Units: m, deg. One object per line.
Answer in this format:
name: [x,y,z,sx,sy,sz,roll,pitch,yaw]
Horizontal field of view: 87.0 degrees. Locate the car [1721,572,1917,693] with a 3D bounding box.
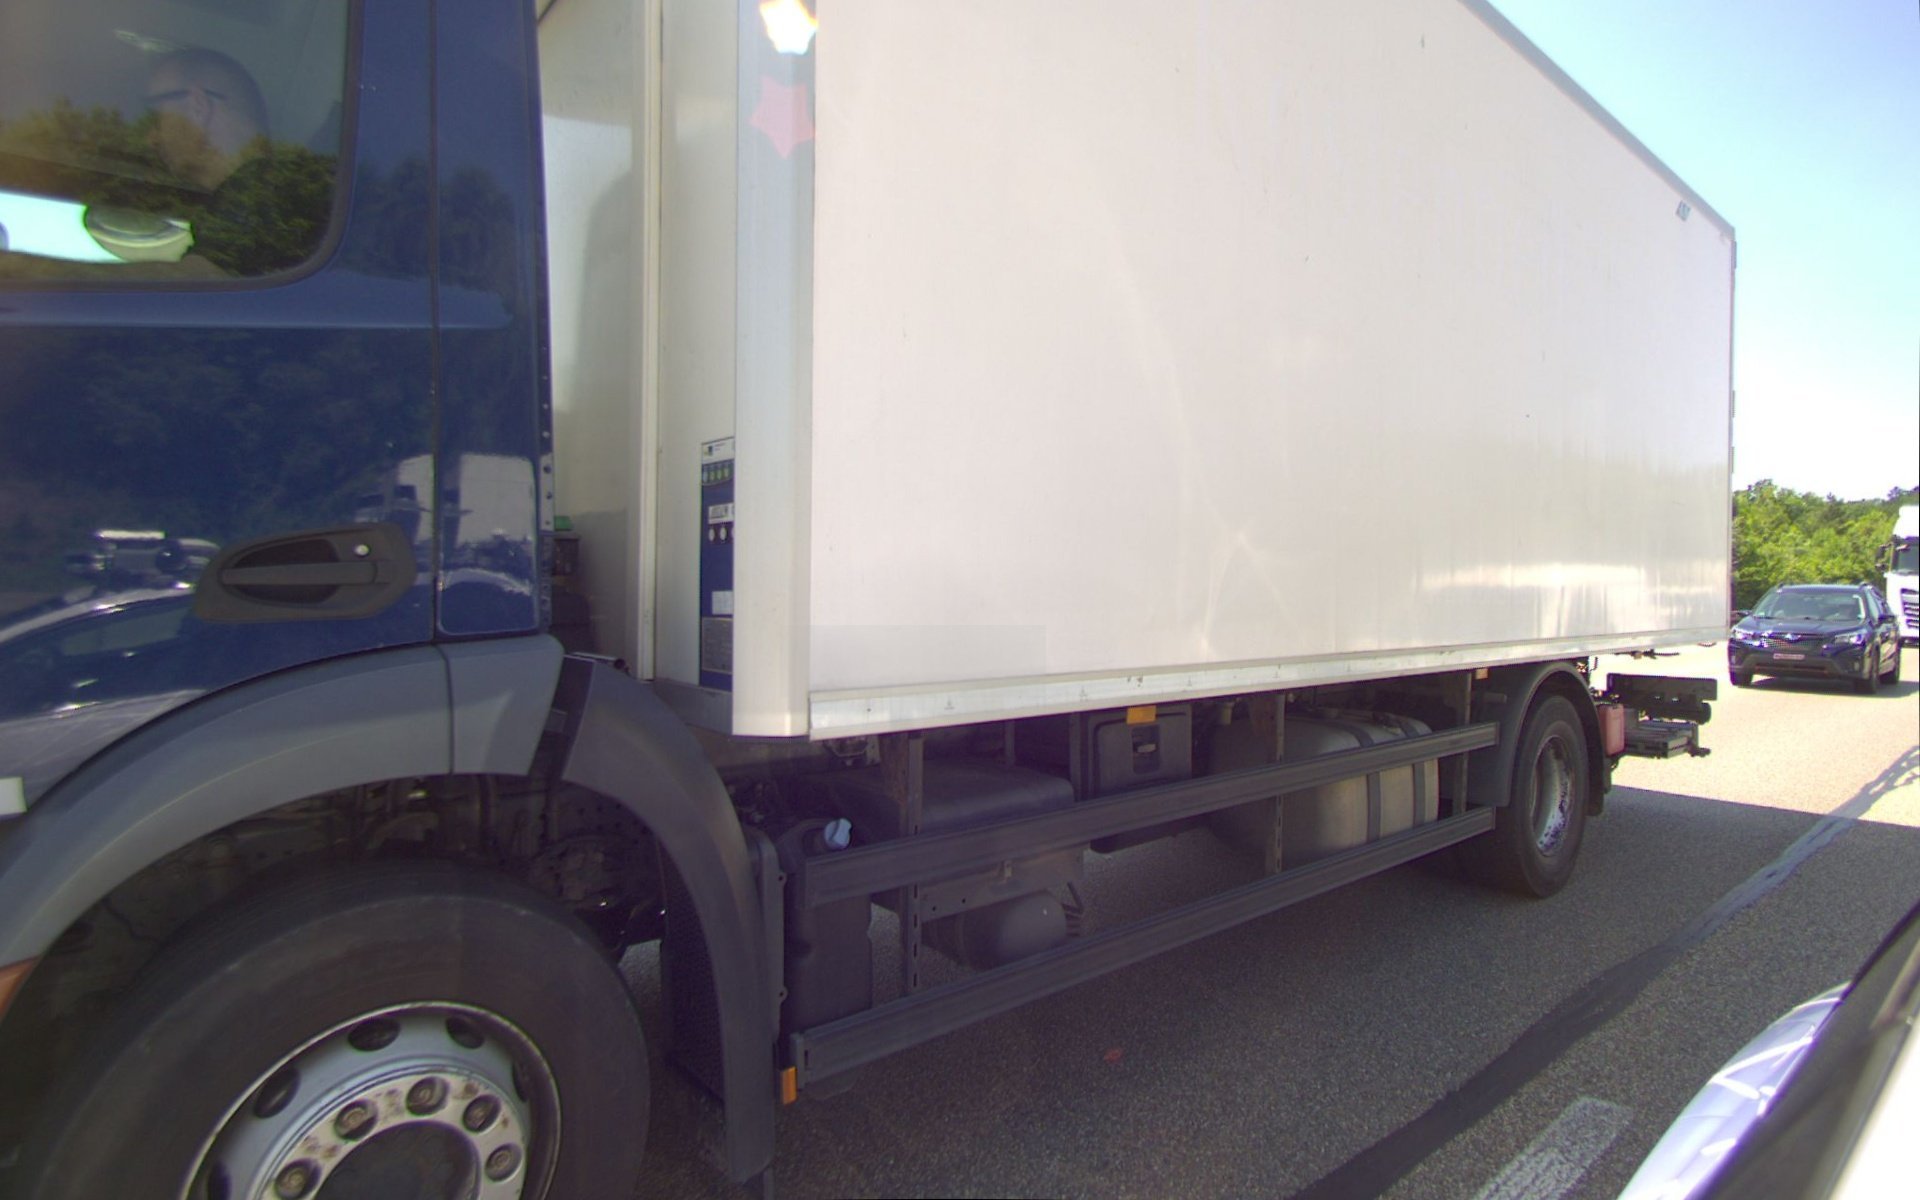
car: [14.478,0.411,16.974,4.534,1.713,1.996,-1,3,-43]

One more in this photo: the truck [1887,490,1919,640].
truck: [29.676,-1.017,29.713,7.205,4.135,2.765,-1,1,-40]

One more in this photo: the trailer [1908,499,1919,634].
trailer: [34.676,-1.098,34.064,11.415,4.134,2.765,-1,3,-41]

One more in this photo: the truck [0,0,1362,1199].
truck: [-1.095,-0.103,2.918,4.031,2.977,2.562,-1,2,-39]

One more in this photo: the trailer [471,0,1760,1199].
trailer: [1.854,-0.167,5.489,7.745,2.935,2.560,0,0,-41]
